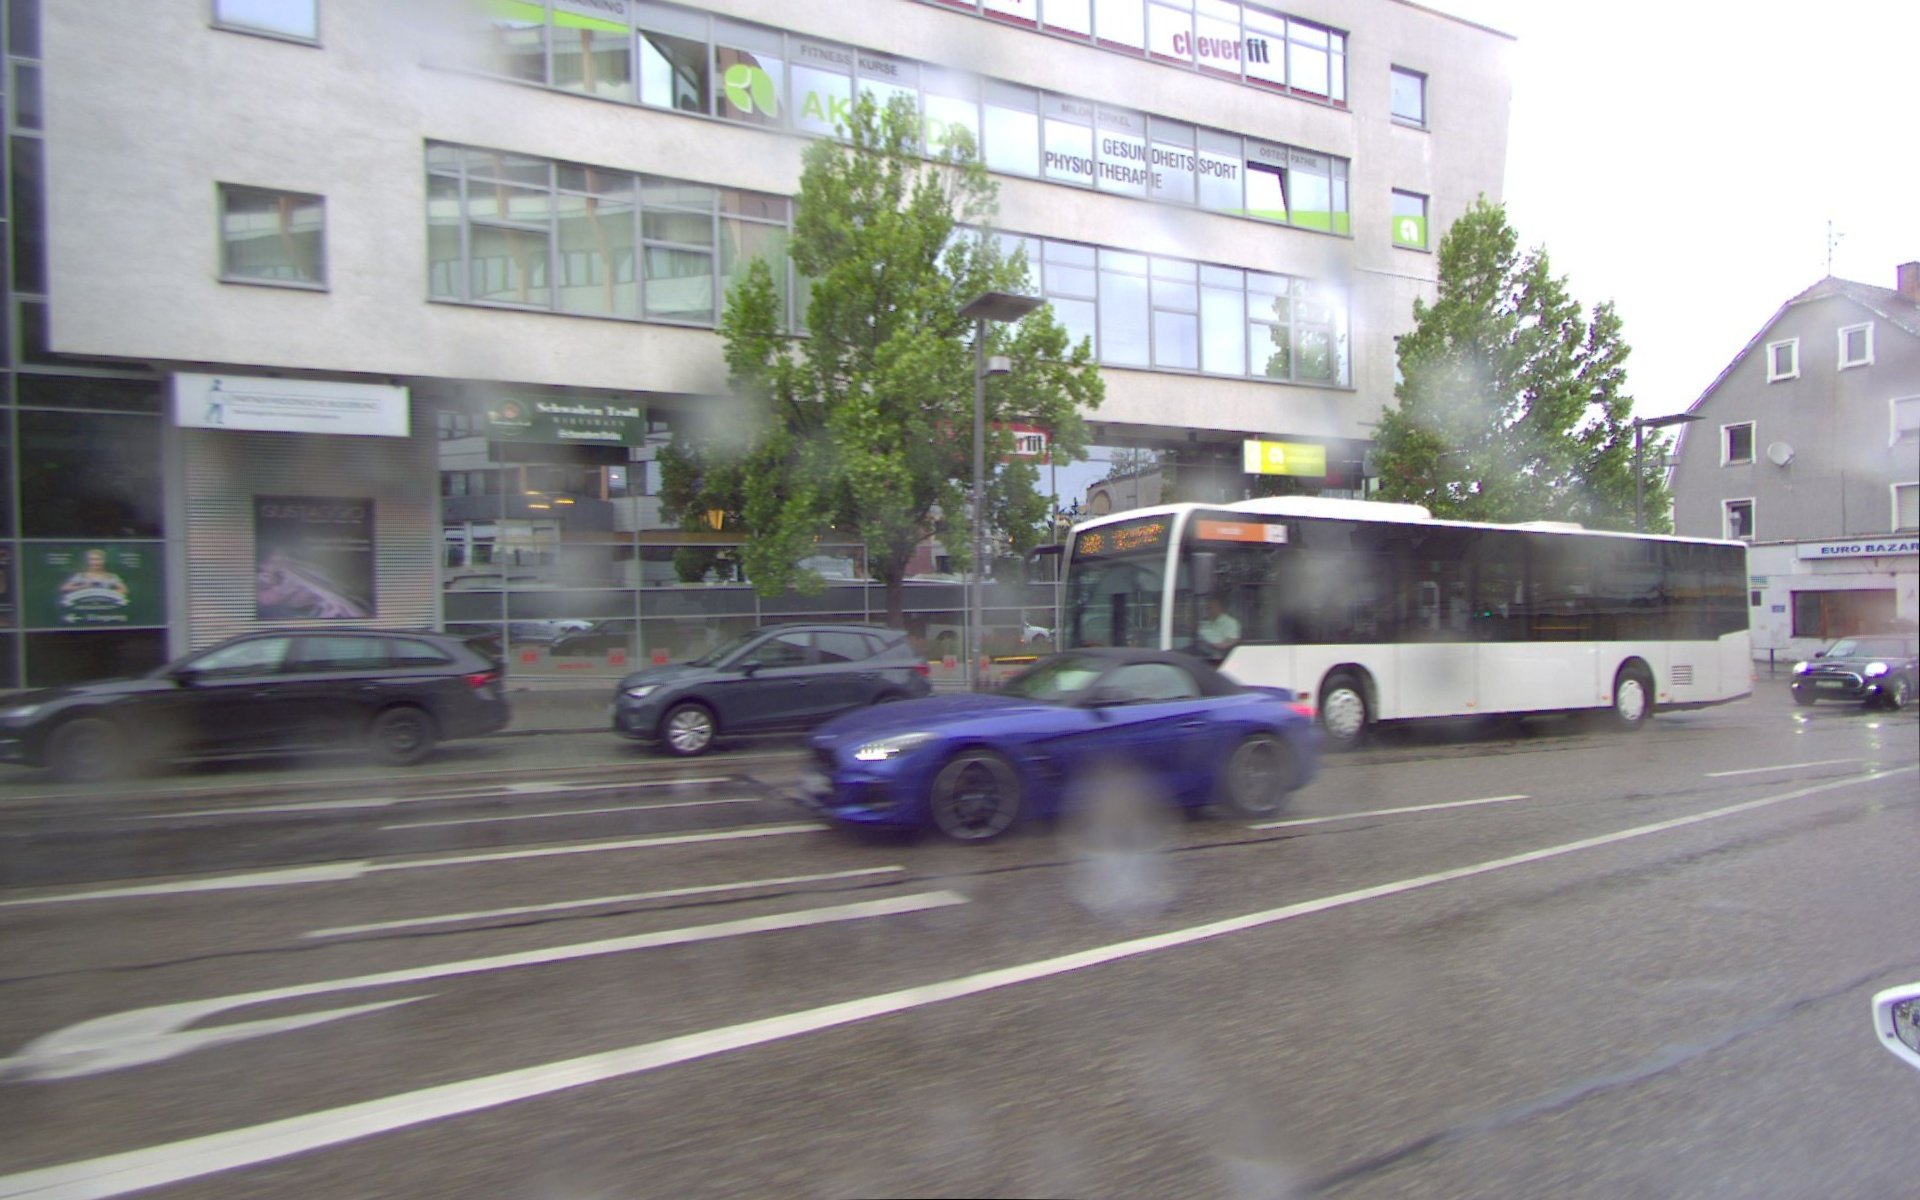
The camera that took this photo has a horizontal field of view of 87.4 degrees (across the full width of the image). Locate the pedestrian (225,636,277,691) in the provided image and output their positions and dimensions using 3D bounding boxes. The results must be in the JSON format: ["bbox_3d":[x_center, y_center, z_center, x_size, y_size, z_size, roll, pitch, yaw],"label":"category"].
[{"bbox_3d":[-13.109,1.163,18.578,0.678,0.989,0.524,1,-2,-25],"label":"pedestrian"}]

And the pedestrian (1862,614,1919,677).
[{"bbox_3d":[27.183,1.319,29.303,1.218,1.812,0.922,1,-2,-27],"label":"pedestrian"}]

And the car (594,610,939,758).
[{"bbox_3d":[-2.463,0.983,12.839,3.949,1.617,1.986,1,-2,-27],"label":"car"}]

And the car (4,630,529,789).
[{"bbox_3d":[-7.220,1.071,11.070,4.419,1.466,1.819,1,-2,-28],"label":"car"}]

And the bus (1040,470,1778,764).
[{"bbox_3d":[6.988,0.318,14.613,11.839,3.140,2.883,1,-2,-26],"label":"bus"}]

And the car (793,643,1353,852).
[{"bbox_3d":[0.932,1.000,8.077,4.139,1.273,1.890,1,-2,-27],"label":"car"}]

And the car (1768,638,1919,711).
[{"bbox_3d":[18.391,1.468,20.481,3.553,1.355,1.635,1,-2,-26],"label":"car"}]
